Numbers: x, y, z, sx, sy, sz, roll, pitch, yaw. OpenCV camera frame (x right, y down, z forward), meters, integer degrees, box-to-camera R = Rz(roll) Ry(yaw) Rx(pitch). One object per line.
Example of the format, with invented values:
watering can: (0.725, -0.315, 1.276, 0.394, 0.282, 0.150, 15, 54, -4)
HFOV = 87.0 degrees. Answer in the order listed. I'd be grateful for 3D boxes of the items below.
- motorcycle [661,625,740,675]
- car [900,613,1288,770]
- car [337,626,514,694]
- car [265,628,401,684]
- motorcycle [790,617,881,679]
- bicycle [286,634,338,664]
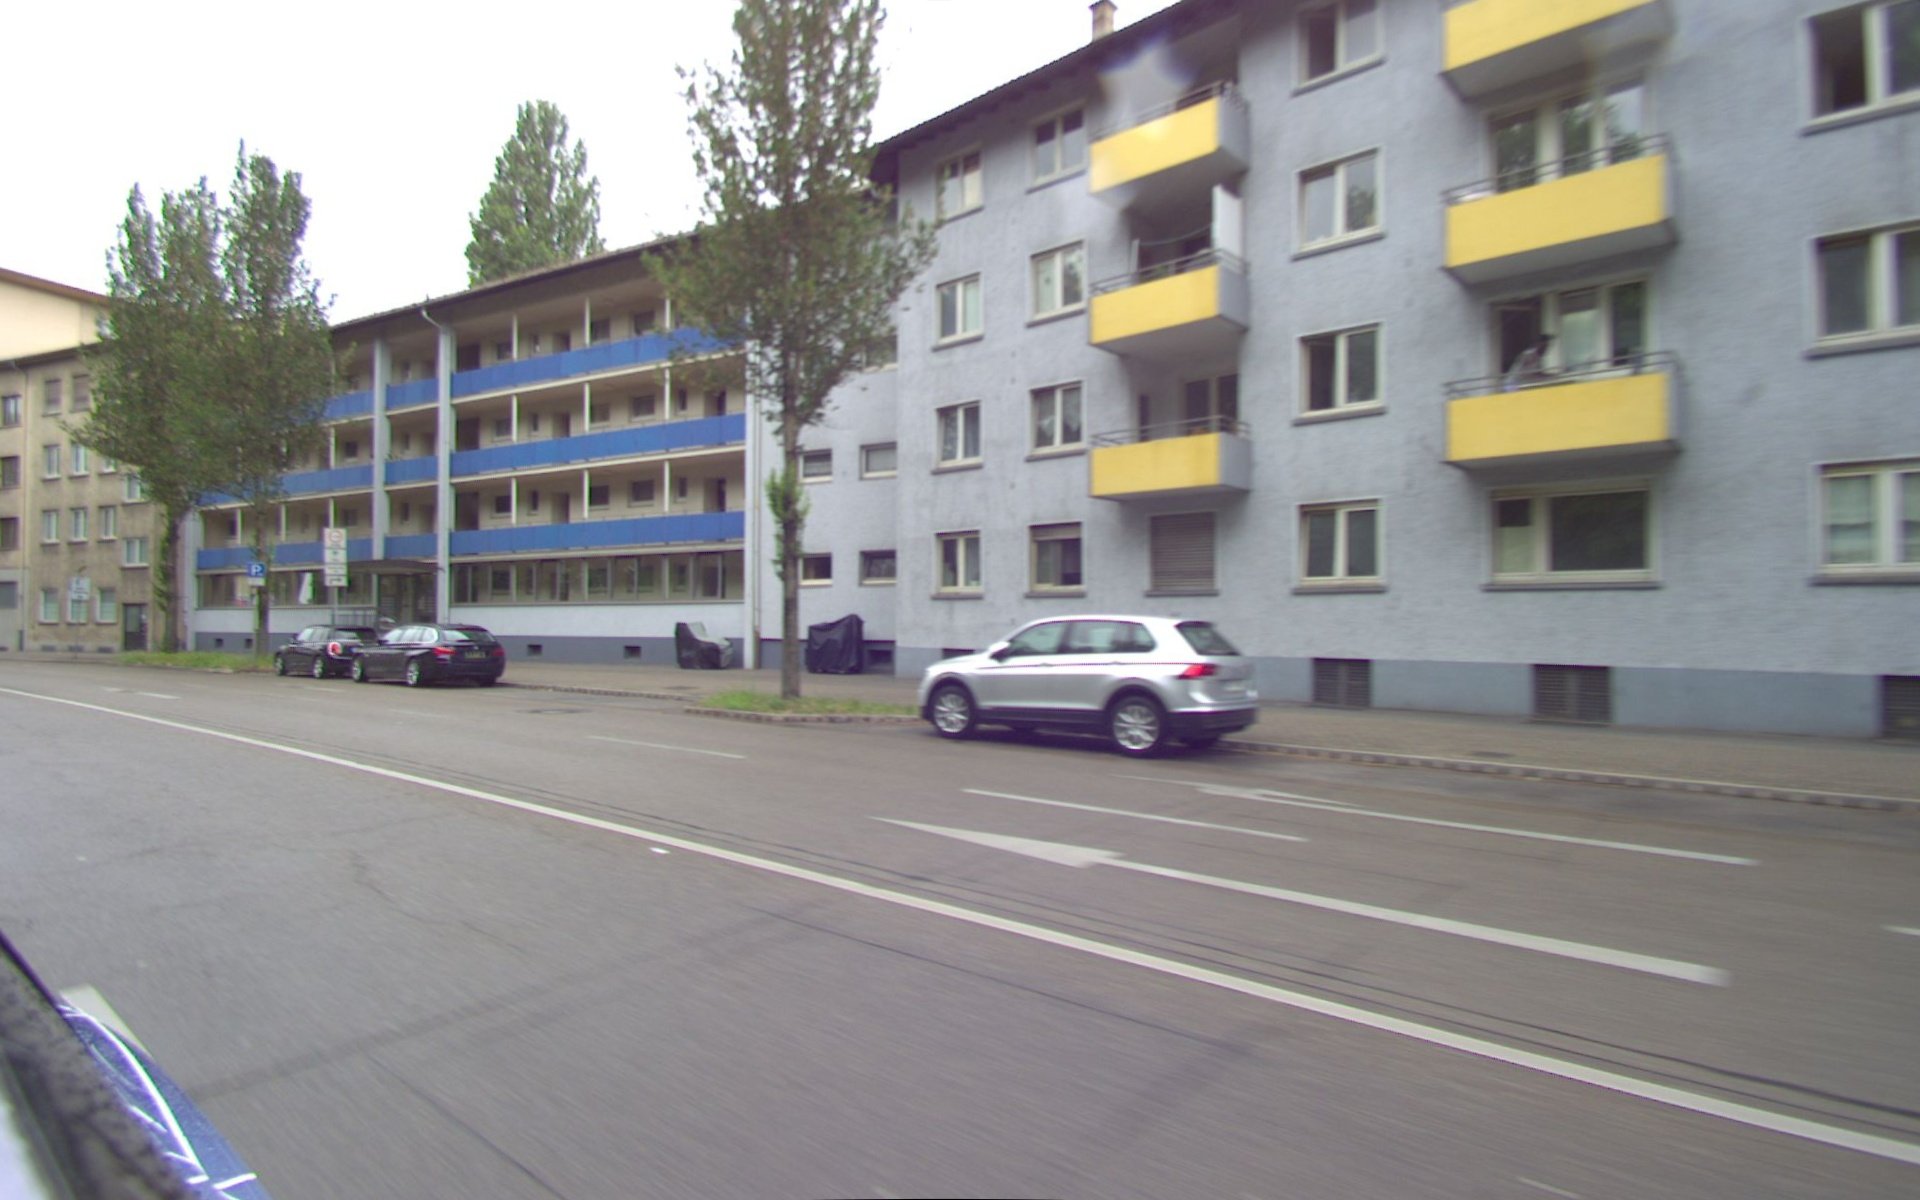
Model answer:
motorcycle: (-6.923, 1.313, 26.942, 2.229, 1.263, 0.670, -1, 0, 33)
car: (1.526, 1.014, 12.551, 4.528, 1.616, 1.746, -1, -3, 39)
car: (-12.787, 1.385, 24.091, 4.885, 1.450, 1.803, -1, -4, 38)
car: (-17.122, 1.497, 27.584, 4.081, 1.414, 1.763, -1, -4, 37)
motorcycle: (-3.038, 1.157, 24.659, 2.227, 1.424, 0.670, -1, 0, 31)
bicycle: (-22.533, 1.702, 35.201, 1.721, 1.031, 0.610, -1, -2, 21)
